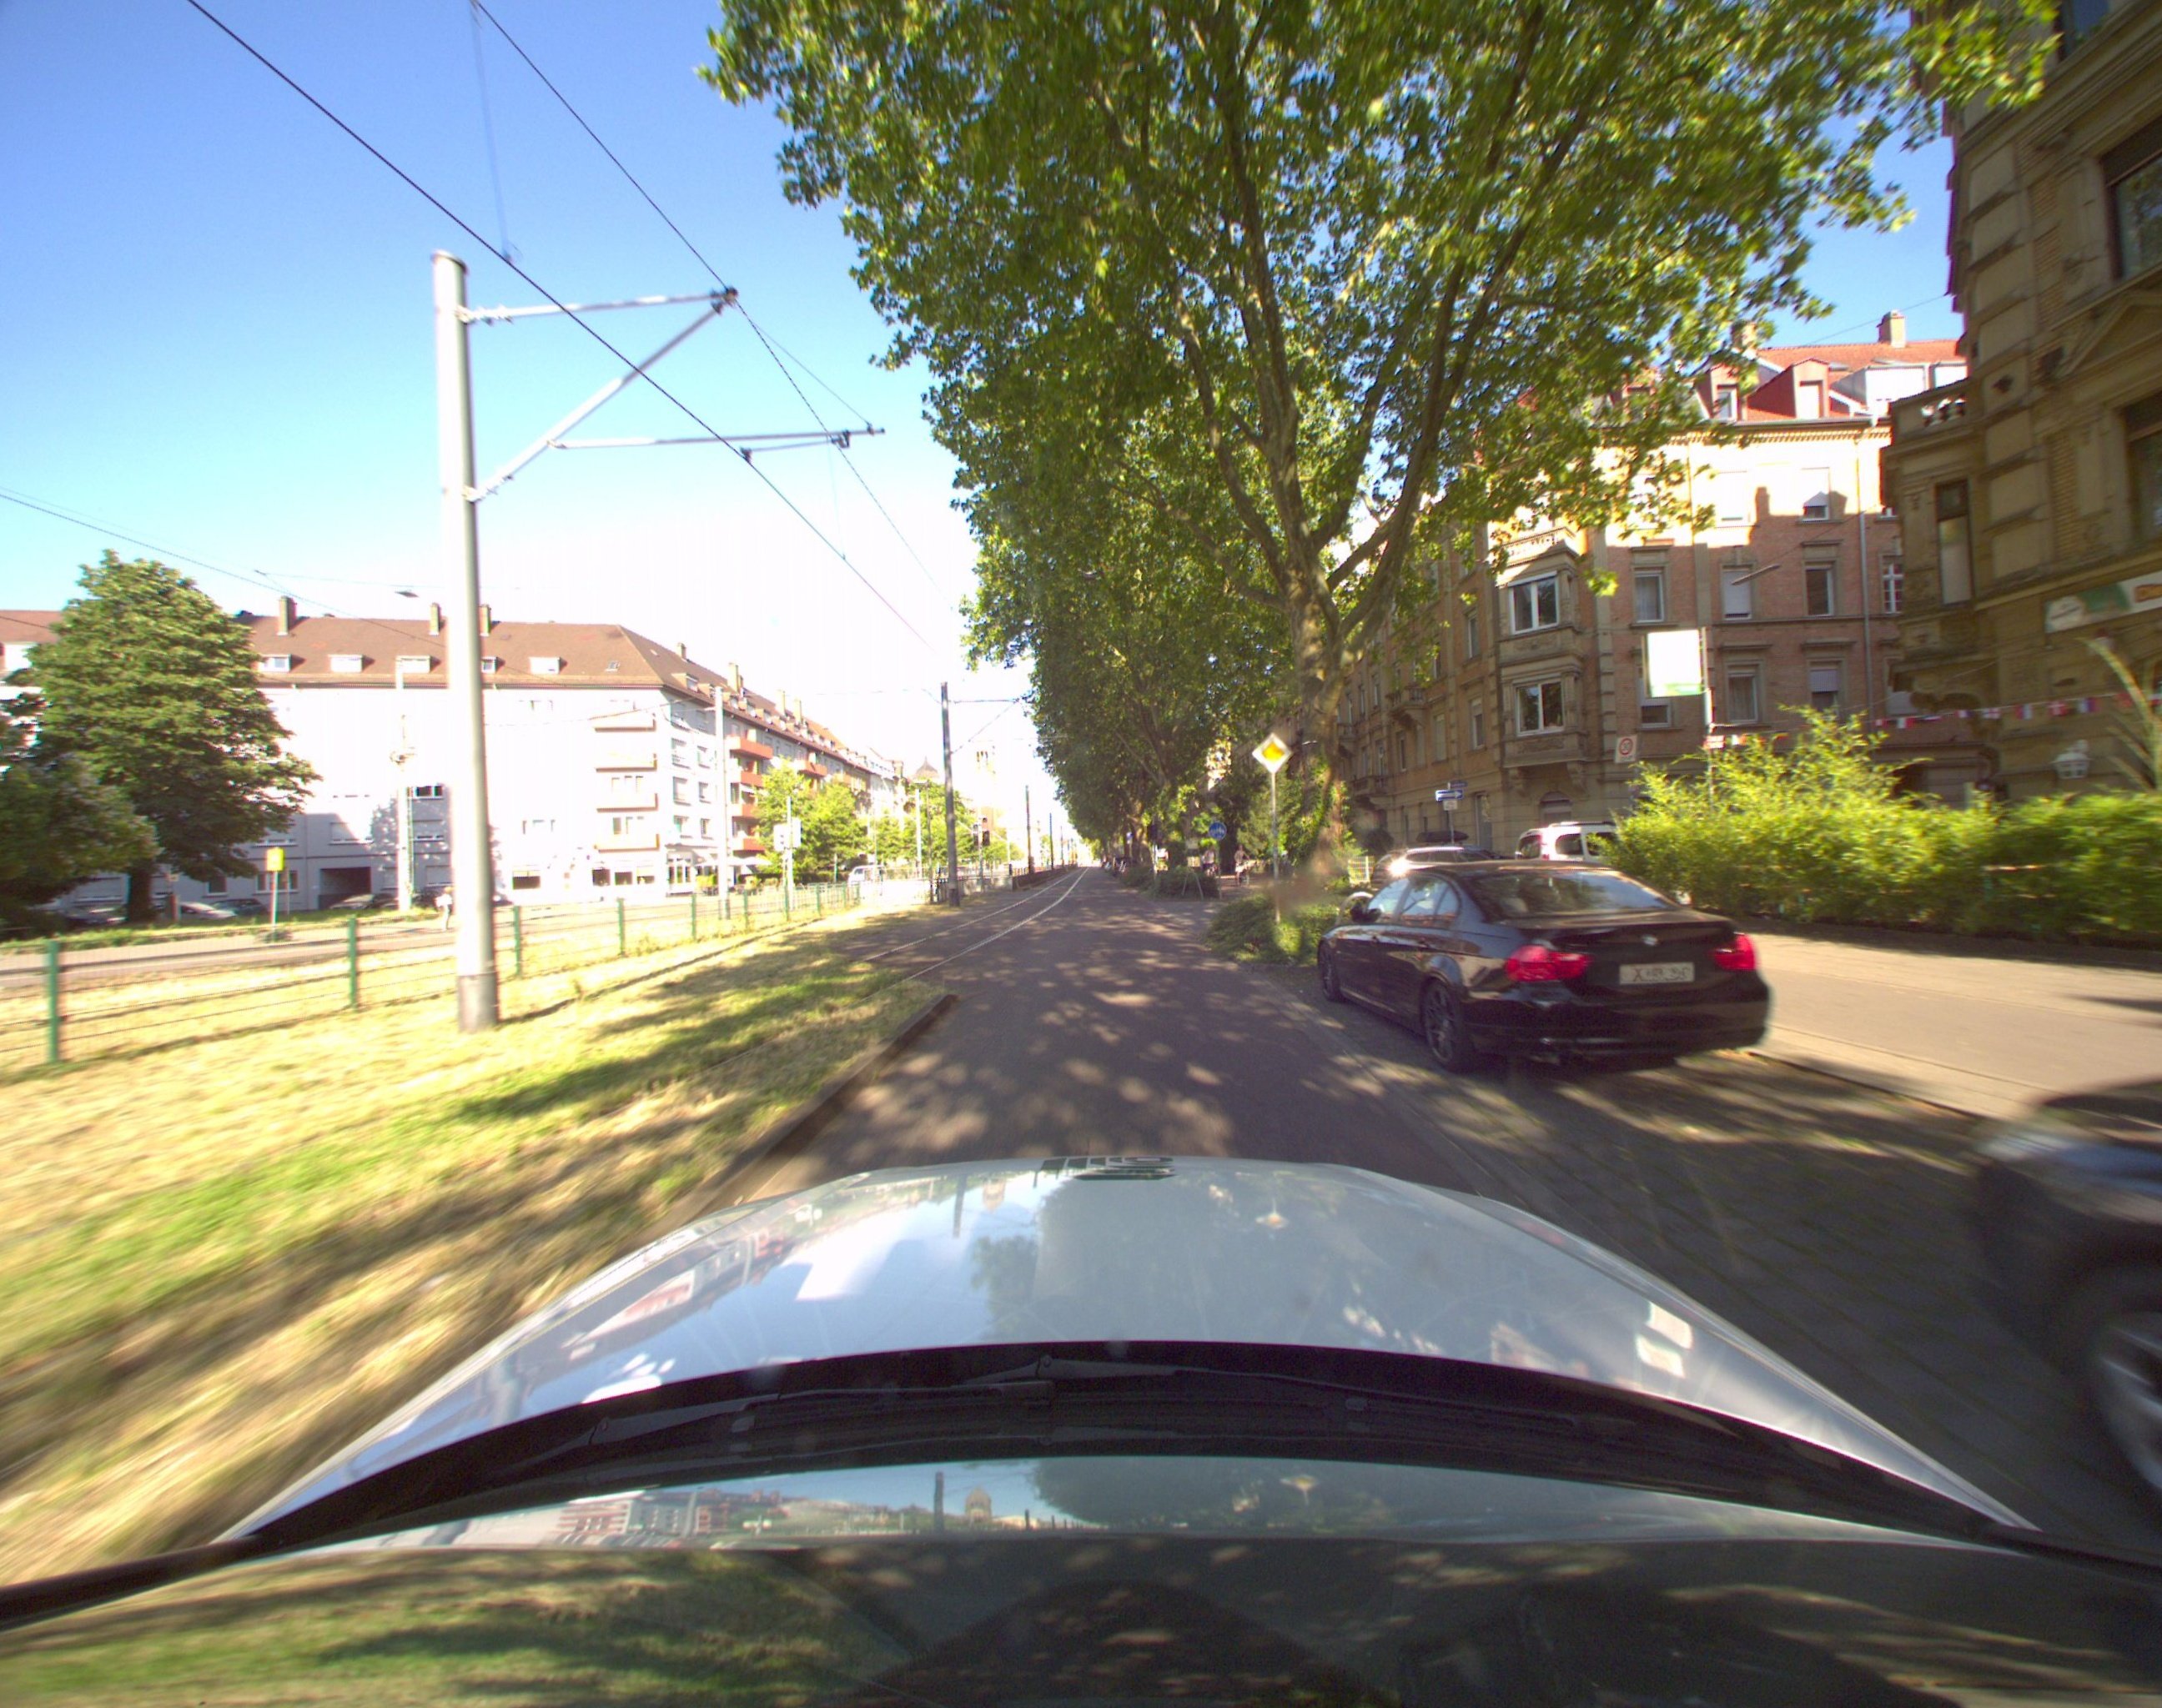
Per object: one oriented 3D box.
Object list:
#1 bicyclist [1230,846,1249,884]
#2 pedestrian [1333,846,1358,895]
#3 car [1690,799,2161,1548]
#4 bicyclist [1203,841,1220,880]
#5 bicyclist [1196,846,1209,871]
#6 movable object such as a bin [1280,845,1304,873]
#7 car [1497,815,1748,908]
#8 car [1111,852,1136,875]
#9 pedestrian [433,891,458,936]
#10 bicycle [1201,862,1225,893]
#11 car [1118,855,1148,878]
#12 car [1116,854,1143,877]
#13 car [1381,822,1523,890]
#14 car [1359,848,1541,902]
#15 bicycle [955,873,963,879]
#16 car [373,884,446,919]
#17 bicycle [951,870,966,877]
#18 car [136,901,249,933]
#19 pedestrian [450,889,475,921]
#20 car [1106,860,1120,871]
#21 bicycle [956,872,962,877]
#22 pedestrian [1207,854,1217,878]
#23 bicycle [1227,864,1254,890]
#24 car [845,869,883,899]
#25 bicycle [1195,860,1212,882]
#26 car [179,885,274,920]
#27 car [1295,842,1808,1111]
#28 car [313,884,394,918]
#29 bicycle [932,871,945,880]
[{"bbox_3d":[6.901,0.477,35.552,0.542,1.625,0.643,-4,0,-6],"label":"bicyclist"},{"bbox_3d":[8.585,0.528,26.491,0.537,1.549,0.607,-3,2,-1],"label":"pedestrian"},{"bbox_3d":[2.962,0.600,0.497,1.669,1.516,4.724,-4,-1,2],"label":"car"},{"bbox_3d":[5.556,0.271,34.598,0.541,1.625,0.644,-3,1,-1],"label":"bicyclist"},{"bbox_3d":[6.939,0.255,46.545,0.541,1.380,0.644,-3,0,-1],"label":"bicyclist"},{"bbox_3d":[11.681,0.293,45.045,0.904,1.464,1.083,-5,-1,-1],"label":"movable object such as a bin"},{"bbox_3d":[12.510,0.174,19.029,4.533,1.846,1.907,-3,-1,0],"label":"car"},{"bbox_3d":[4.060,0.896,78.182,1.988,2.013,5.200,-4,0,-1],"label":"car"},{"bbox_3d":[-24.558,2.291,31.488,0.493,1.673,0.752,0,-1,-14],"label":"pedestrian"},{"bbox_3d":[5.592,0.971,34.629,0.559,1.178,2.225,-3,2,-1],"label":"bicycle"},{"bbox_3d":[3.561,0.895,56.099,1.709,1.462,3.998,-2,-1,-1],"label":"car"},{"bbox_3d":[3.663,0.903,61.942,1.709,1.549,4.500,-4,-1,0],"label":"car"},{"bbox_3d":[12.872,0.021,28.411,3.977,2.013,1.999,-4,3,-2],"label":"car"},{"bbox_3d":[10.781,0.610,23.994,4.535,1.539,1.906,0,-1,-2],"label":"car"},{"bbox_3d":[-19.938,3.569,132.859,1.272,0.905,0.534,0,-1,-30],"label":"bicycle"},{"bbox_3d":[-41.854,2.923,50.886,1.820,2.014,3.966,0,-1,-12],"label":"car"},{"bbox_3d":[-19.863,3.229,132.249,2.383,1.098,0.552,0,-1,-30],"label":"bicycle"},{"bbox_3d":[-46.298,3.264,42.513,3.662,1.420,1.694,-2,0,-9],"label":"car"},{"bbox_3d":[-31.052,2.548,40.901,0.655,1.556,0.728,0,-1,0],"label":"pedestrian"},{"bbox_3d":[4.323,1.544,110.499,1.796,1.477,4.646,-3,-1,0],"label":"car"},{"bbox_3d":[-22.848,3.852,152.773,0.457,1.005,1.925,0,-4,-30],"label":"bicycle"},{"bbox_3d":[8.997,0.826,55.953,0.528,1.627,0.618,-5,0,1],"label":"pedestrian"},{"bbox_3d":[6.974,0.980,35.707,0.560,1.037,1.929,-5,1,-6],"label":"bicycle"},{"bbox_3d":[-16.387,2.261,61.665,1.992,2.013,4.998,-5,-1,-8],"label":"car"},{"bbox_3d":[6.987,0.976,46.563,0.559,1.178,2.225,-3,0,-1],"label":"bicycle"},{"bbox_3d":[-51.329,2.876,49.031,1.995,1.860,3.984,0,-1,-12],"label":"car"},{"bbox_3d":[3.226,0.703,6.839,1.670,1.394,4.571,-4,-1,1],"label":"car"},{"bbox_3d":[-44.887,2.876,50.361,1.995,1.860,3.984,0,-1,-12],"label":"car"},{"bbox_3d":[-20.362,3.090,116.494,1.801,1.178,0.563,0,-1,3],"label":"bicycle"}]
